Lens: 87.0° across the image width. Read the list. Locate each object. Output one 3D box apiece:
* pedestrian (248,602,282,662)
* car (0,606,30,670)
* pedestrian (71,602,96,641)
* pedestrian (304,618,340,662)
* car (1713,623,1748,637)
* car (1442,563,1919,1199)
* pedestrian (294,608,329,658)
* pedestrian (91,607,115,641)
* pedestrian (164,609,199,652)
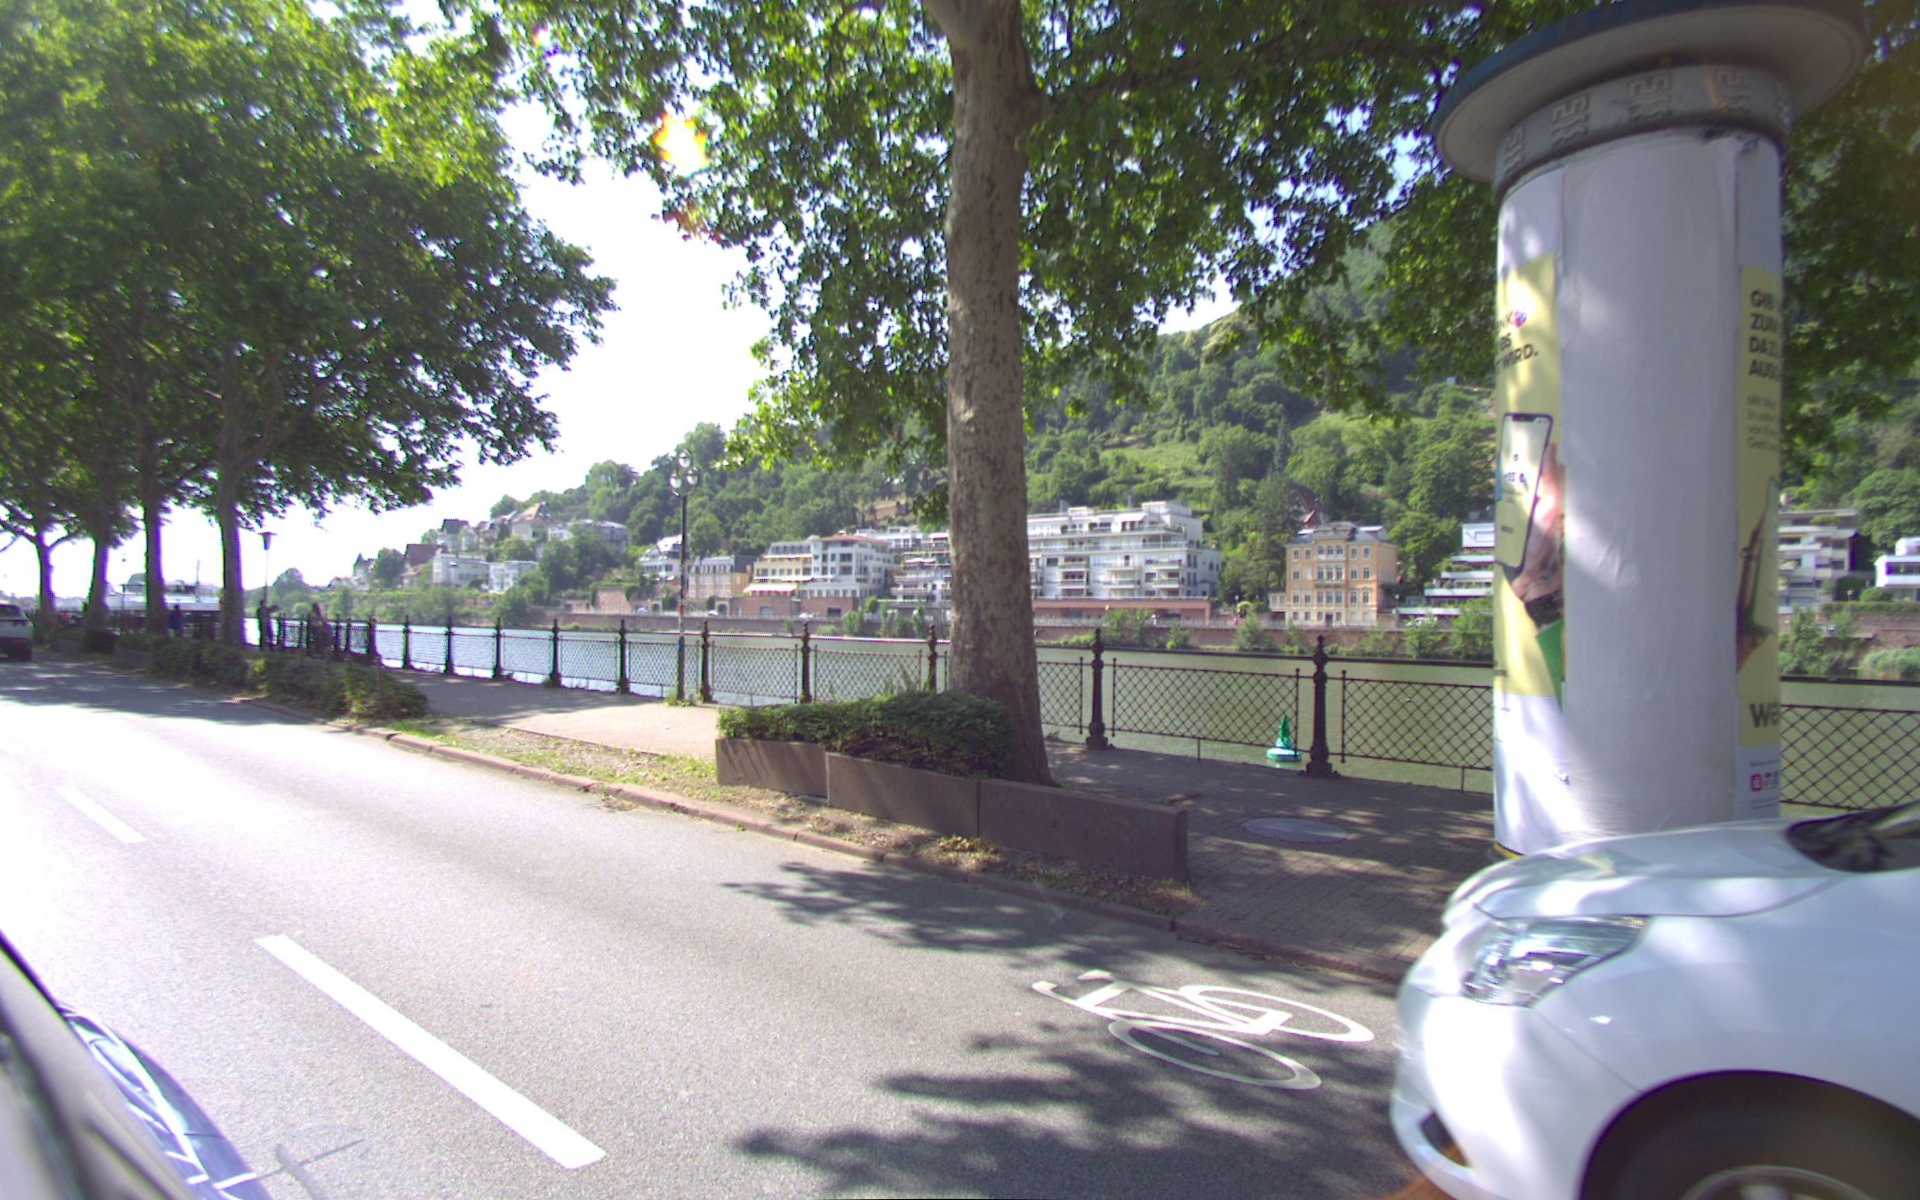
[{"bbox_3d":[-22.696,1.051,33.065,0.756,1.915,0.772,3,-3,-41],"label":"pedestrian"},{"bbox_3d":[-27.088,0.990,27.832,3.999,1.673,1.750,0,-4,42],"label":"car"},{"bbox_3d":[-42.900,1.047,49.524,0.929,1.863,0.796,0,0,41],"label":"pedestrian"},{"bbox_3d":[-21.052,1.321,33.395,0.770,1.398,0.758,-1,-3,40],"label":"pedestrian"},{"bbox_3d":[117.726,4.536,154.621,3.998,2.029,1.973,-2,-1,41],"label":"car"},{"bbox_3d":[3.133,0.785,1.470,4.090,1.584,1.720,-1,-5,42],"label":"car"},{"bbox_3d":[-23.379,1.180,36.486,0.829,1.771,0.767,-1,-3,40],"label":"pedestrian"},{"bbox_3d":[-42.654,1.186,50.366,0.885,1.647,1.060,0,0,-43],"label":"pedestrian"},{"bbox_3d":[-37.163,1.432,48.297,1.032,2.029,1.038,0,0,-18],"label":"pedestrian"}]
